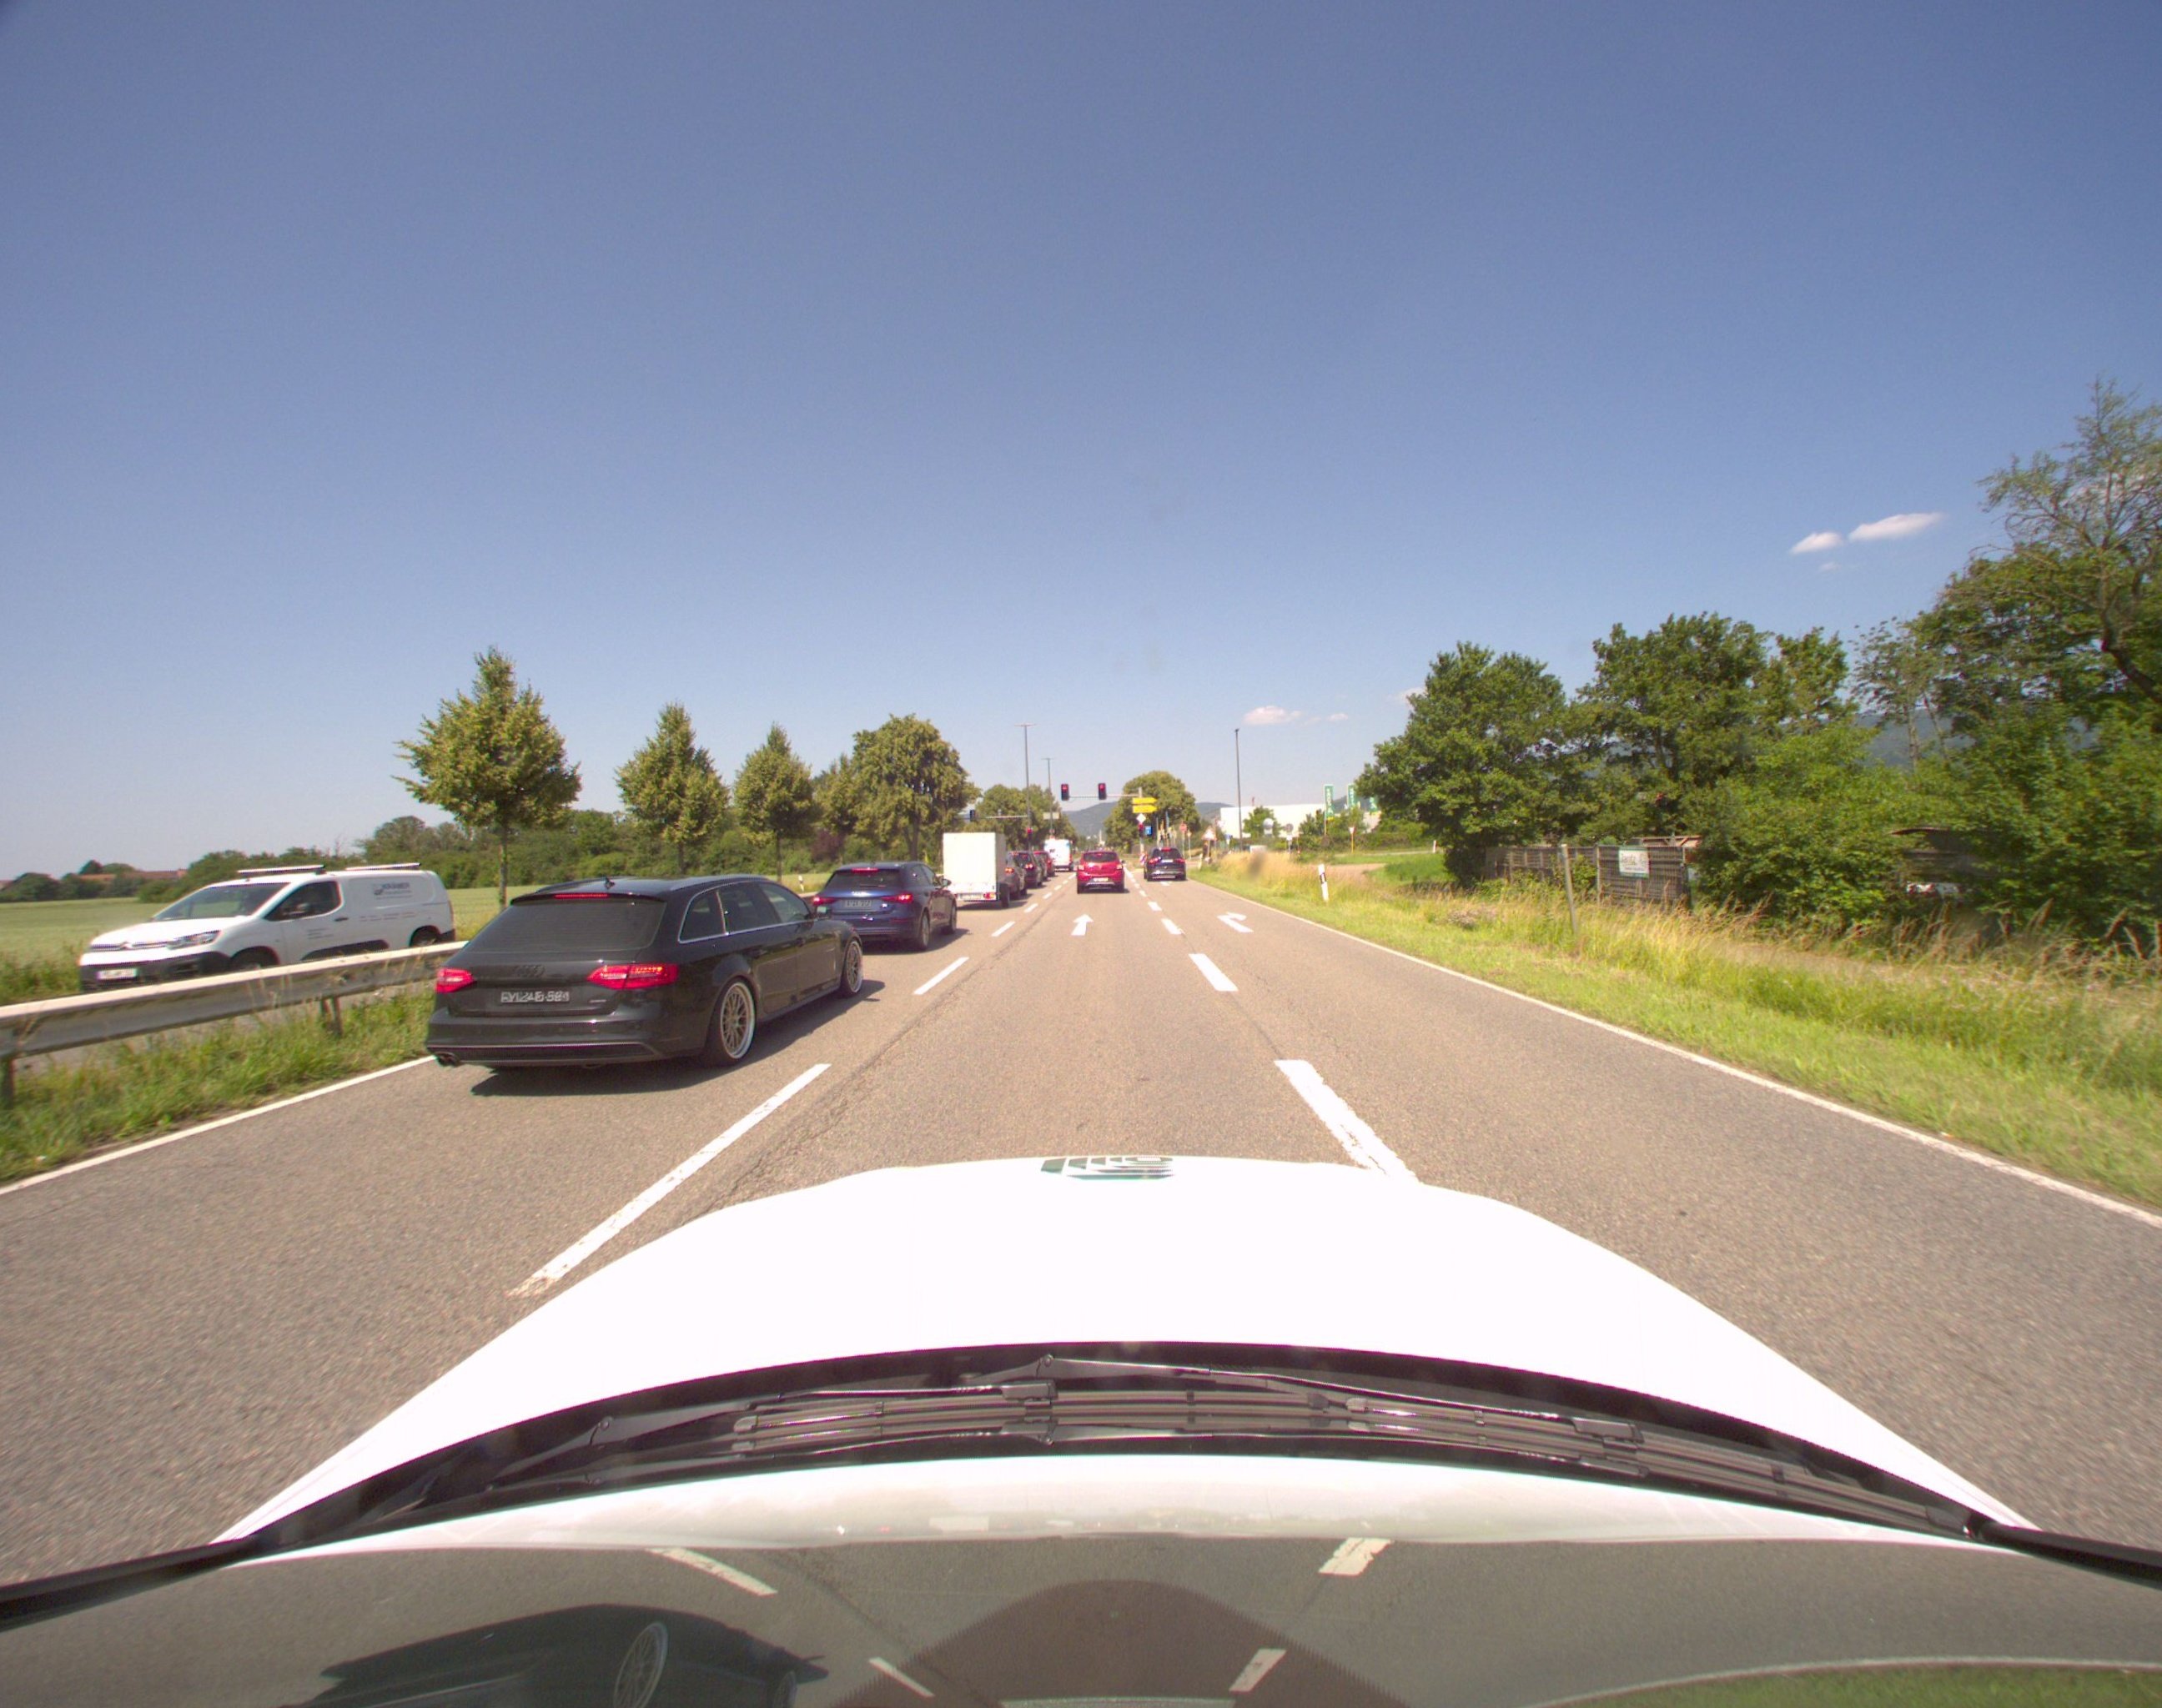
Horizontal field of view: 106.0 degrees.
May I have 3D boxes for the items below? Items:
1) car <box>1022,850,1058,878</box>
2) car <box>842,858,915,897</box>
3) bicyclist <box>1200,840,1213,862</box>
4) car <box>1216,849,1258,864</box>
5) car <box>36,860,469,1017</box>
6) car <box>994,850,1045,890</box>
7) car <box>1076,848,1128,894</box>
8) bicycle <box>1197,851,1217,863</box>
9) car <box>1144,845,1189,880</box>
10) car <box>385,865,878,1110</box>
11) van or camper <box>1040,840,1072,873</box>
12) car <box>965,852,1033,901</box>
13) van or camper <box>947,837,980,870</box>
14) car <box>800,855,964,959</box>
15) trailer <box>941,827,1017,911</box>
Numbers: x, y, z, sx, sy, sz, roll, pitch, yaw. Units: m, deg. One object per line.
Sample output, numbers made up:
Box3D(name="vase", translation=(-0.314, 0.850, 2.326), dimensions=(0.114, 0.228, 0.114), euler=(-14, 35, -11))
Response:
Box3D(name="car", translation=(-2.406, 0.559, 48.395), dimensions=(1.717, 1.600, 3.957), euler=(-1, 0, 2))
Box3D(name="car", translation=(-8.675, 0.952, 35.275), dimensions=(1.872, 1.454, 4.505), euler=(-2, 0, 1))
Box3D(name="bicyclist", translation=(10.586, -0.272, 68.486), dimensions=(0.802, 1.771, 0.806), euler=(-3, 0, -10))
Box3D(name="car", translation=(15.222, 0.242, 79.639), dimensions=(3.964, 1.327, 1.811), euler=(-2, 0, 8))
Box3D(name="car", translation=(-12.865, 1.144, 13.276), dimensions=(1.986, 1.951, 4.831), euler=(-2, 0, 1))
Box3D(name="car", translation=(-2.550, 0.634, 34.554), dimensions=(1.716, 1.575, 3.895), euler=(-1, 0, 2))
Box3D(name="car", translation=(0.841, 0.586, 30.315), dimensions=(1.742, 1.575, 3.679), euler=(-2, 0, 3))
Box3D(name="bicycle", translation=(10.606, 0.254, 68.620), dimensions=(0.761, 0.915, 2.770), euler=(-2, 0, -10))
Box3D(name="car", translation=(4.148, 0.380, 40.182), dimensions=(1.985, 1.616, 4.343), euler=(-1, 0, 3))
Box3D(name="car", translation=(-3.305, 0.848, 7.199), dimensions=(1.734, 1.380, 4.457), euler=(-1, 0, 2))
Box3D(name="van or camper", translation=(-1.741, 0.159, 59.022), dimensions=(2.172, 2.302, 4.825), euler=(-1, 0, -1))
Box3D(name="car", translation=(-2.682, 0.696, 27.511), dimensions=(1.739, 1.503, 4.364), euler=(-1, 0, 1))
Box3D(name="van or camper", translation=(-11.558, -0.096, 80.414), dimensions=(2.255, 3.099, 5.695), euler=(-3, 1, 0))
Box3D(name="car", translation=(-3.242, 0.792, 14.067), dimensions=(1.711, 1.465, 4.031), euler=(-1, 0, 1))
Box3D(name="trailer", translation=(-2.840, 0.390, 23.424), dimensions=(1.495, 2.173, 4.175), euler=(-1, 0, 1))
